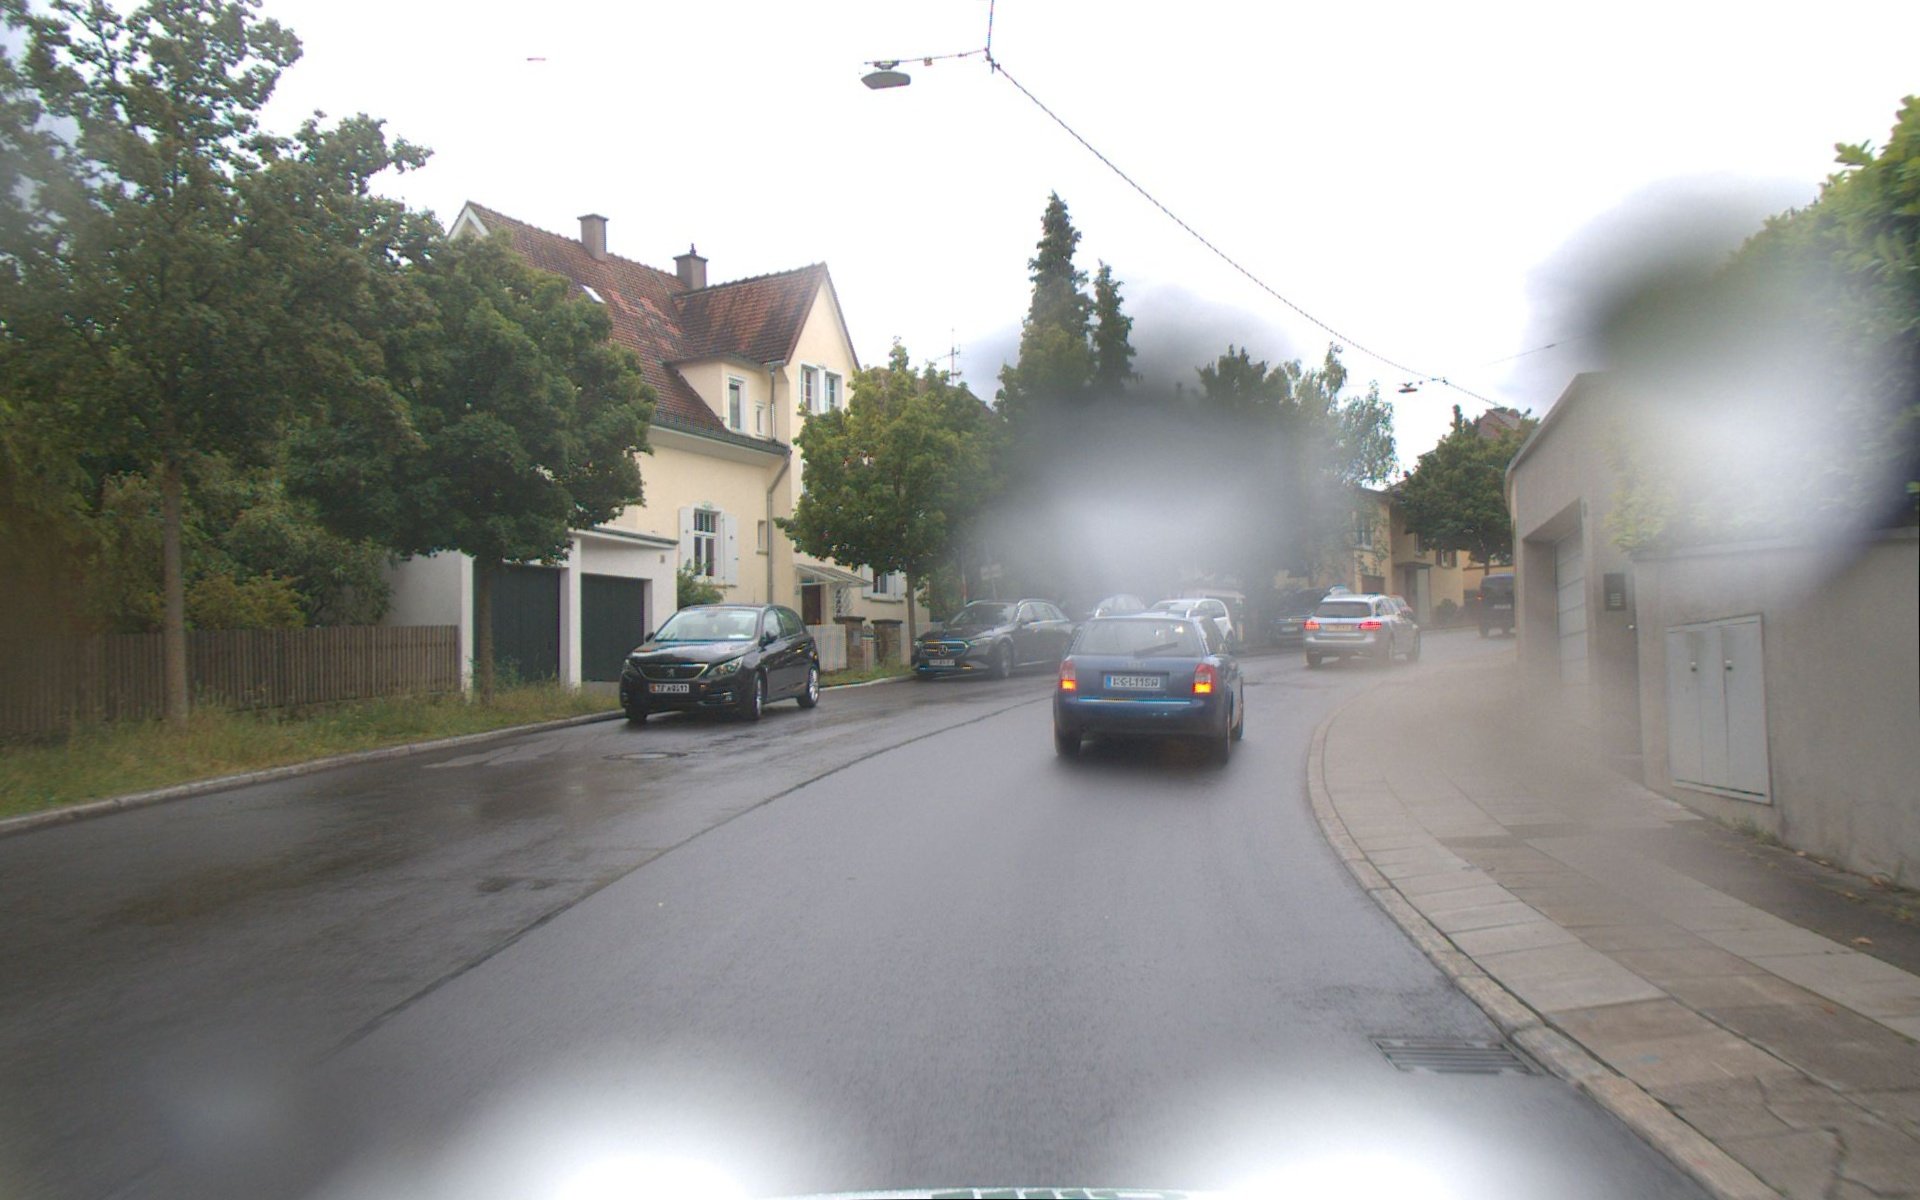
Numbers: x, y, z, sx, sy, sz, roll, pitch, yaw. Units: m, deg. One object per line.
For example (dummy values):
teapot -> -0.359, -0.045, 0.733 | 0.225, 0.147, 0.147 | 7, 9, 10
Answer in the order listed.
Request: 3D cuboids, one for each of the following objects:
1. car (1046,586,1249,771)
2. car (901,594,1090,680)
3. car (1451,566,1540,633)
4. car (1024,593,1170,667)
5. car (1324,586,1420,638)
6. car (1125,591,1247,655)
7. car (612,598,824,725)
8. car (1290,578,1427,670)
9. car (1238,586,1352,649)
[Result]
car -> 2.047, 0.712, 17.070 | 1.696, 1.492, 4.005 | -2, 2, 11
car -> 0.808, 0.695, 32.977 | 1.830, 1.572, 4.900 | -1, 0, 27
car -> 16.489, -0.049, 50.768 | 1.701, 1.799, 4.228 | -1, 2, 30
car -> 3.161, 0.642, 37.395 | 1.701, 1.572, 4.203 | -1, 0, 29
car -> 13.338, 0.375, 53.374 | 1.653, 1.497, 3.851 | -4, -1, 35
car -> 5.791, 0.554, 42.021 | 1.701, 1.492, 3.994 | -1, 0, 29
car -> -3.121, 0.757, 22.069 | 1.634, 1.492, 3.898 | -2, 0, 10
car -> 8.596, 0.470, 35.429 | 1.937, 1.663, 4.232 | -2, 2, 26
car -> 10.078, 0.503, 49.556 | 1.769, 1.698, 4.413 | -4, -1, 33
